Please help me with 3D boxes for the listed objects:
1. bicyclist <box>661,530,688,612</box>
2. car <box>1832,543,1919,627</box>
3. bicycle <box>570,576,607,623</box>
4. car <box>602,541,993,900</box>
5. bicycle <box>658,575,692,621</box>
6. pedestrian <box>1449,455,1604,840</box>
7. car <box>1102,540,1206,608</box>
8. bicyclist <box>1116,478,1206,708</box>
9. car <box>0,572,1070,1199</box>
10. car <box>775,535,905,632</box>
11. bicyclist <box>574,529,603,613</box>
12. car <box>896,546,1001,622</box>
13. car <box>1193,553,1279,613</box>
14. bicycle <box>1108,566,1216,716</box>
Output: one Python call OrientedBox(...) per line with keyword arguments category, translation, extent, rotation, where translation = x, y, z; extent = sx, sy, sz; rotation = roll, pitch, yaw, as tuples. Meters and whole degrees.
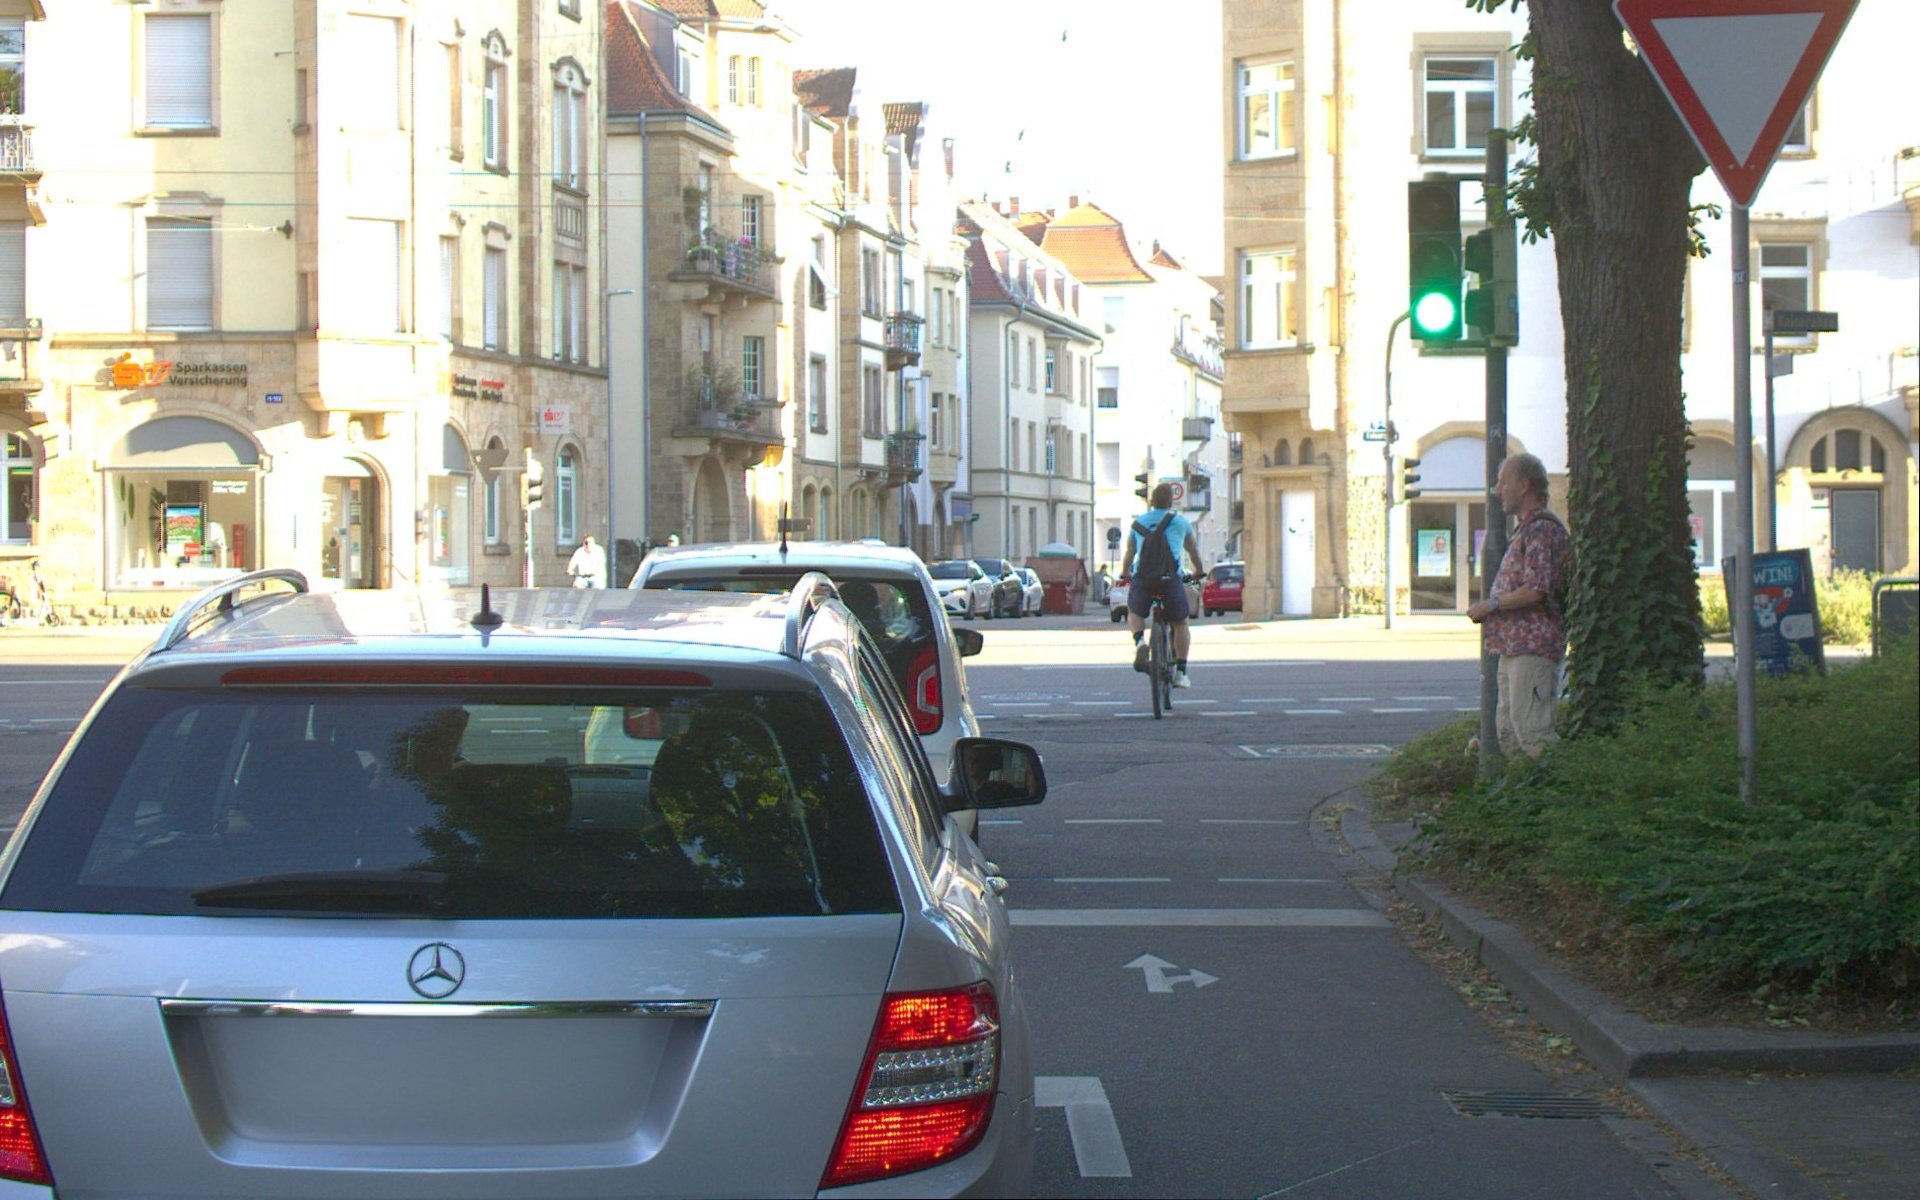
OrientedBox(category="bicyclist", translation=(-5.274, -0.541, 63.530), extent=(0.466, 1.515, 0.694), rotation=(0, 1, -2))
OrientedBox(category="car", translation=(13.259, -0.210, 44.954), extent=(3.364, 1.065, 1.380), rotation=(0, 1, 0))
OrientedBox(category="bicycle", translation=(-6.745, -0.013, 62.441), extent=(0.568, 0.832, 1.566), rotation=(0, 1, -2))
OrientedBox(category="car", translation=(-0.664, 0.445, 15.348), extent=(1.533, 1.386, 3.599), rotation=(0, 1, -1))
OrientedBox(category="bicycle", translation=(-5.265, -0.043, 63.544), extent=(0.568, 0.832, 1.566), rotation=(0, 1, -2))
OrientedBox(category="pedestrian", translation=(2.746, 0.221, 16.700), extent=(0.631, 1.838, 0.575), rotation=(0, 1, -3))
OrientedBox(category="car", translation=(4.601, -0.632, 81.227), extent=(1.722, 1.473, 3.998), rotation=(-2, 1, 13))
OrientedBox(category="bicyclist", translation=(1.578, -0.060, 27.087), extent=(0.646, 1.769, 0.831), rotation=(1, 1, 1))
OrientedBox(category="car", translation=(-0.762, 0.697, 6.345), extent=(1.690, 1.424, 3.493), rotation=(1, 1, -2))
OrientedBox(category="car", translation=(-2.454, -0.372, 71.272), extent=(1.938, 1.952, 4.149), rotation=(0, 1, 9))
OrientedBox(category="bicyclist", translation=(-6.743, -0.528, 62.453), extent=(0.466, 1.509, 0.655), rotation=(0, 1, -2))
OrientedBox(category="car", translation=(-0.244, -0.397, 81.189), extent=(1.687, 1.716, 3.998), rotation=(0, 1, 12))
OrientedBox(category="car", translation=(7.823, -0.507, 97.199), extent=(1.722, 1.473, 3.998), rotation=(-4, 1, 13))
OrientedBox(category="bicycle", translation=(1.587, 0.303, 27.274), extent=(0.742, 1.114, 2.013), rotation=(1, 1, 1))
